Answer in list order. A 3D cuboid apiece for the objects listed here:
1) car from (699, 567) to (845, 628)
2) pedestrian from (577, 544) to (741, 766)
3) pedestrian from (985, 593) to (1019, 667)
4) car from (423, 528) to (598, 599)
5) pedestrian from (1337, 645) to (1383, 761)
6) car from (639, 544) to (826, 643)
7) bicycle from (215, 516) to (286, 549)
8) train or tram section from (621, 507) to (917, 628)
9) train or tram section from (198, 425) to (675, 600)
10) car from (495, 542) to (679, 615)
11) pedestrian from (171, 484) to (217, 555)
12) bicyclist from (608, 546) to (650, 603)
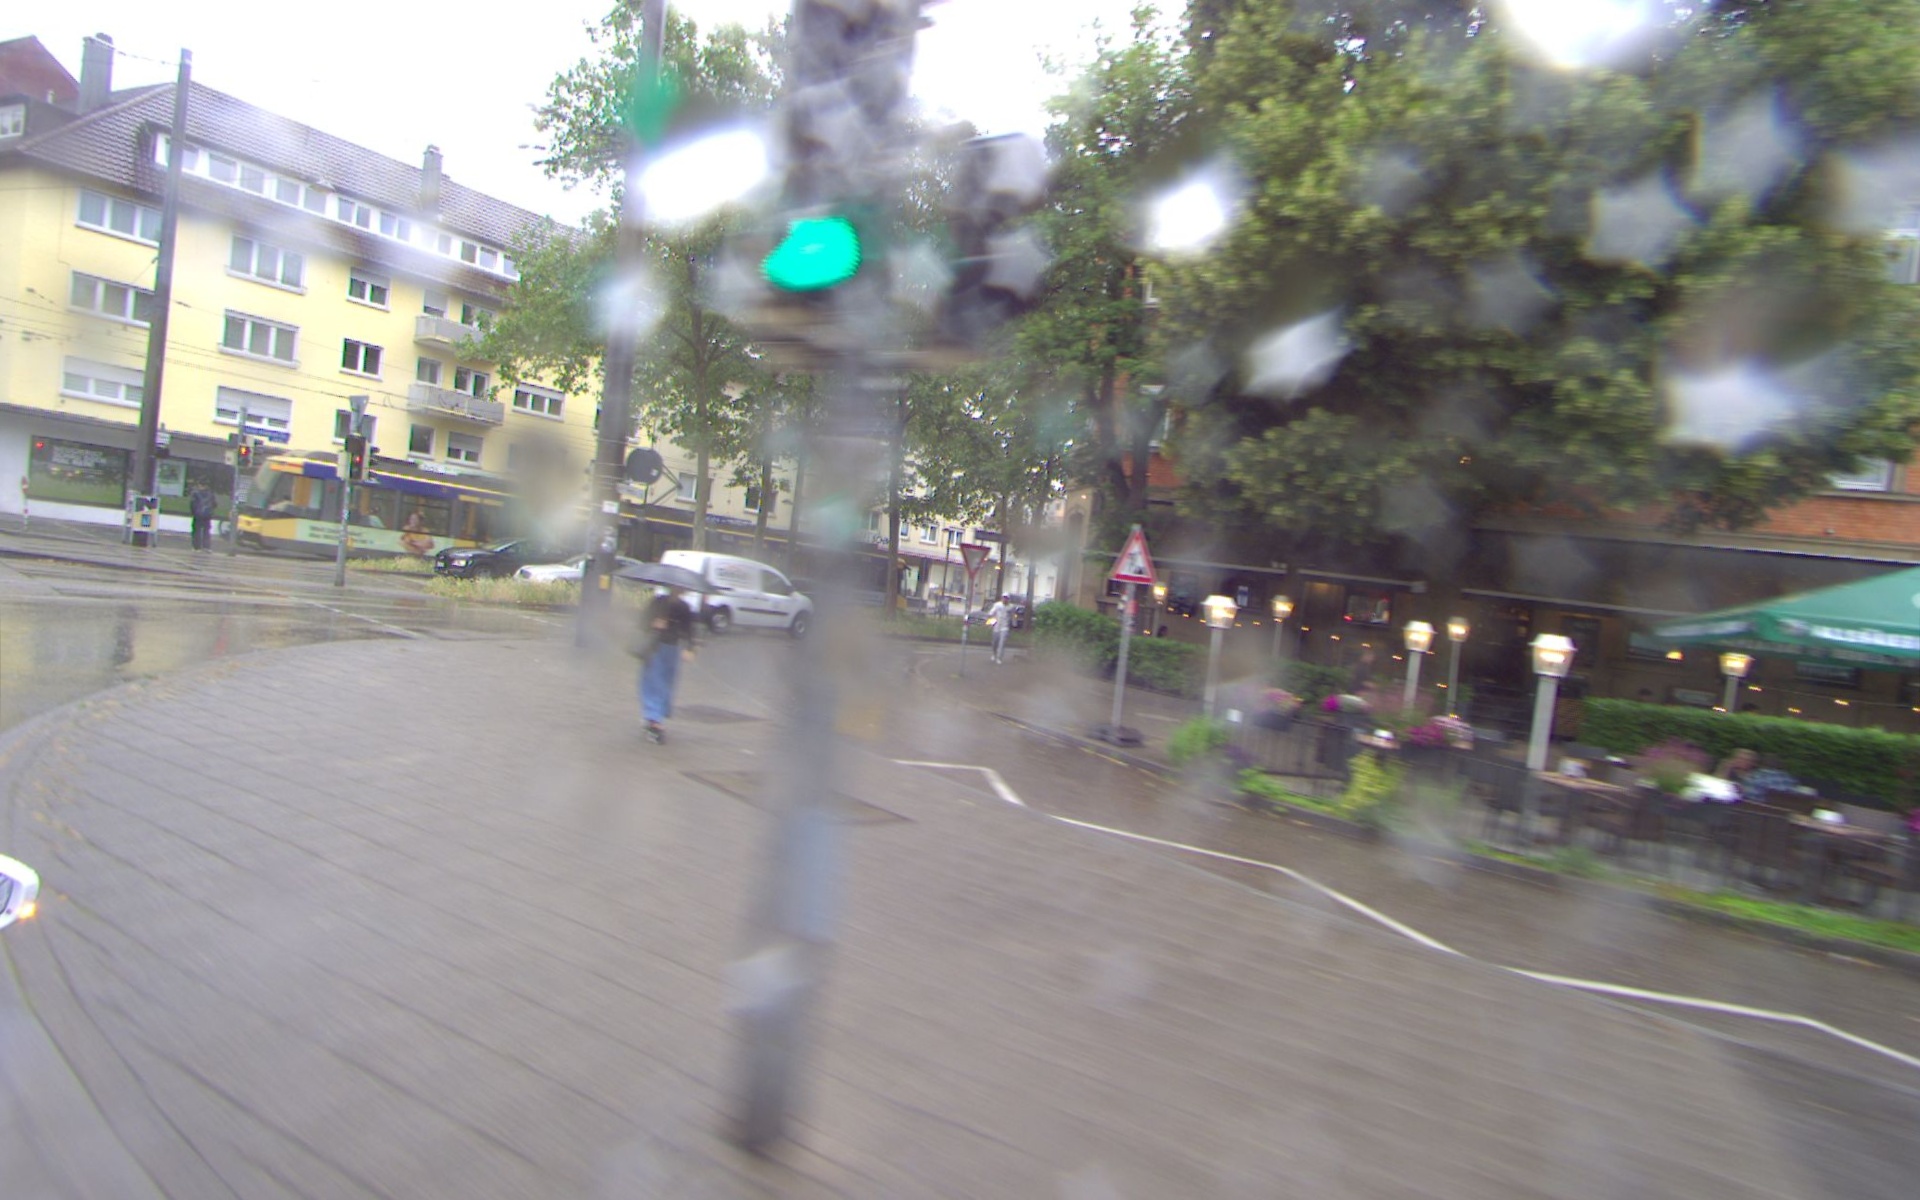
[{"bbox_3d":[-6.289,-0.047,34.034,1.836,1.504,4.618,9,1,40],"label":"car"},{"bbox_3d":[-2.566,0.448,8.662,1.089,1.687,0.994,8,1,-16],"label":"pedestrian"},{"bbox_3d":[1.075,0.731,25.487,0.555,1.798,1.204,4,3,11],"label":"pedestrian"},{"bbox_3d":[-13.124,-1.021,29.610,1.850,1.521,4.270,8,1,36],"label":"car"},{"bbox_3d":[6.002,1.526,15.095,0.382,1.667,0.549,8,3,28],"label":"pedestrian"},{"bbox_3d":[-5.316,-0.094,24.013,1.878,1.819,4.106,8,0,31],"label":"car"},{"bbox_3d":[-26.608,-2.525,37.753,0.605,0.908,2.036,8,1,41],"label":"bicycle"},{"bbox_3d":[-8.140,-1.205,46.395,3.070,3.601,14.621,8,0,39],"label":"train or tram section"},{"bbox_3d":[-17.174,-2.627,35.115,3.070,3.601,14.524,8,0,39],"label":"train or tram section"},{"bbox_3d":[-10.371,-0.562,28.215,1.715,1.508,4.480,9,1,40],"label":"car"},{"bbox_3d":[-19.949,-2.102,26.223,0.807,1.699,1.006,6,1,-37],"label":"pedestrian"},{"bbox_3d":[-10.795,-0.825,32.815,0.703,1.737,0.887,8,1,37],"label":"bicyclist"}]
